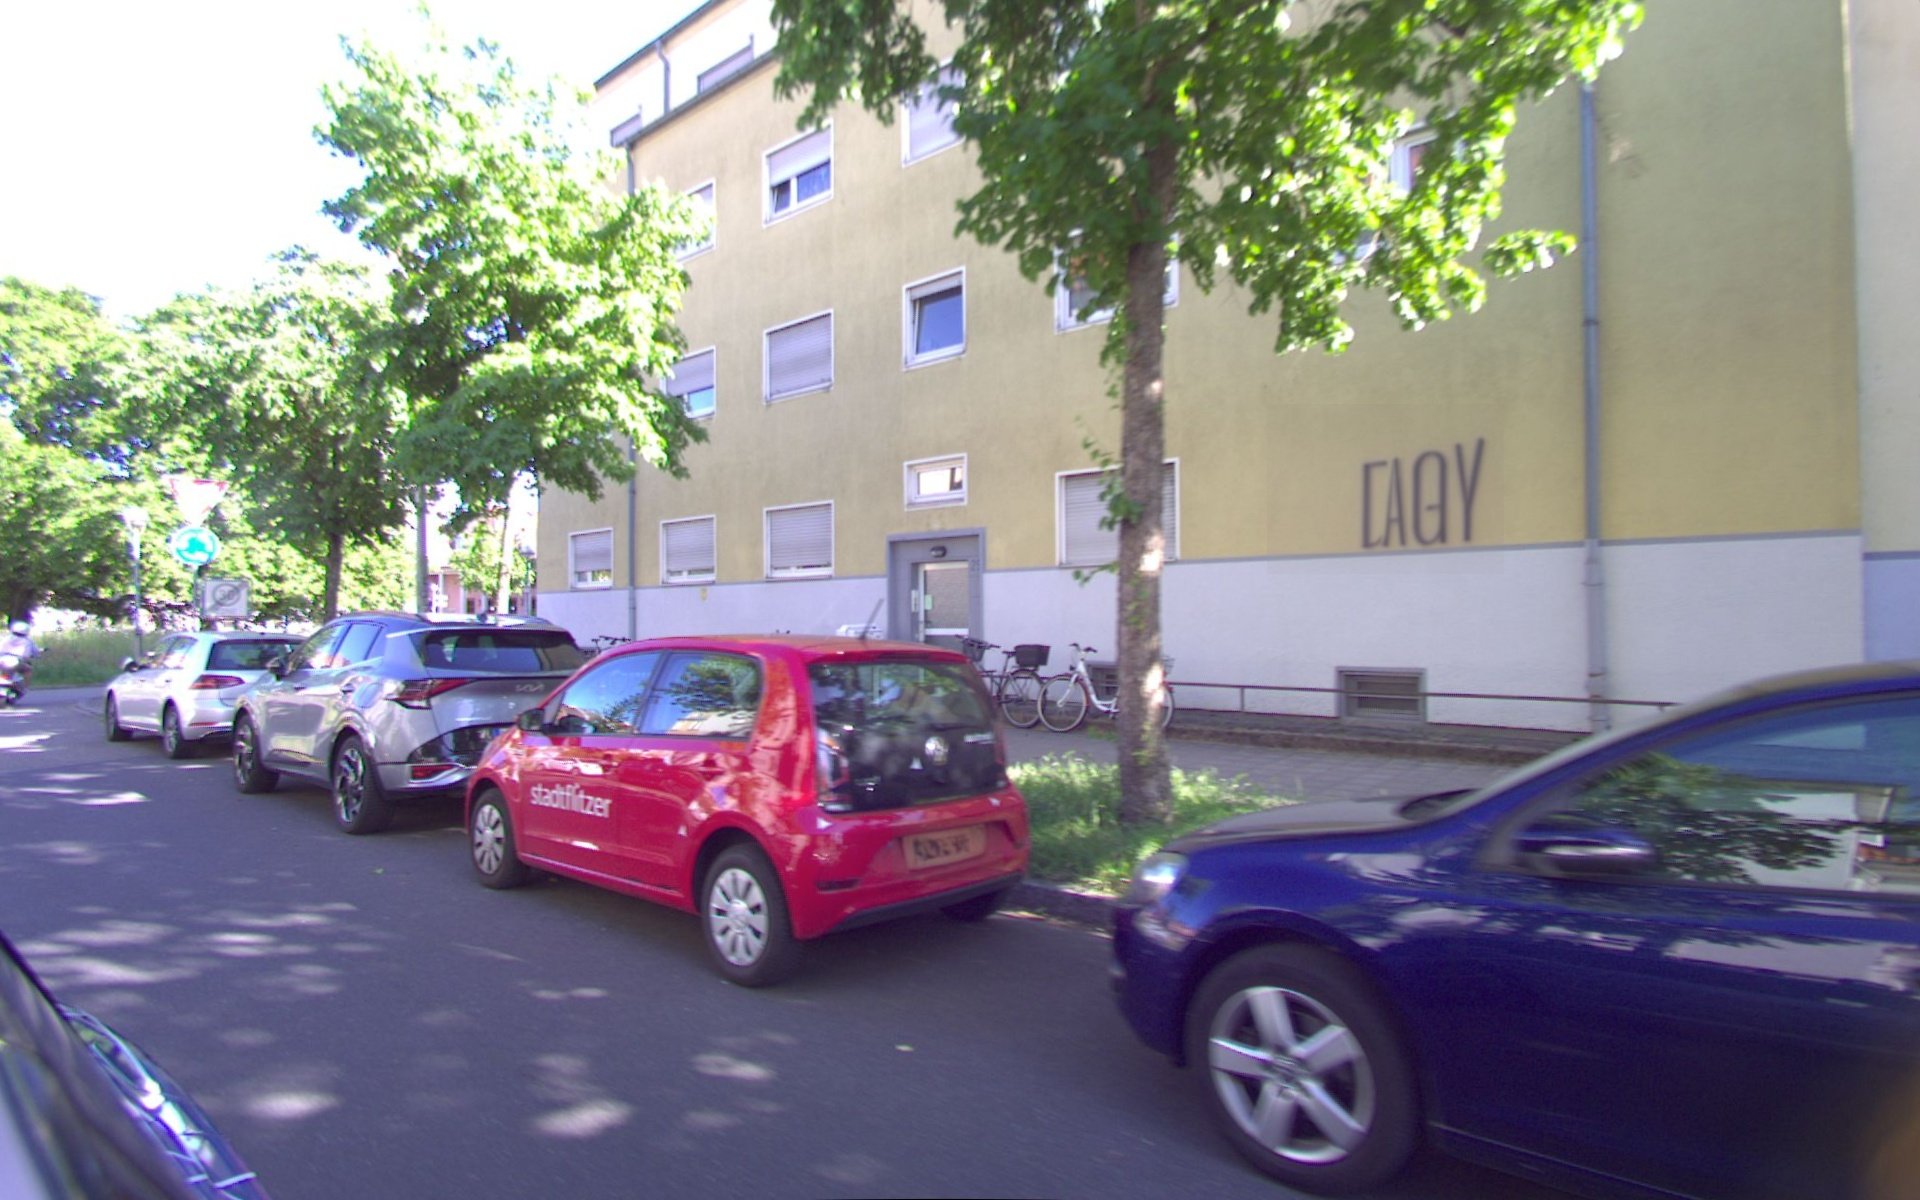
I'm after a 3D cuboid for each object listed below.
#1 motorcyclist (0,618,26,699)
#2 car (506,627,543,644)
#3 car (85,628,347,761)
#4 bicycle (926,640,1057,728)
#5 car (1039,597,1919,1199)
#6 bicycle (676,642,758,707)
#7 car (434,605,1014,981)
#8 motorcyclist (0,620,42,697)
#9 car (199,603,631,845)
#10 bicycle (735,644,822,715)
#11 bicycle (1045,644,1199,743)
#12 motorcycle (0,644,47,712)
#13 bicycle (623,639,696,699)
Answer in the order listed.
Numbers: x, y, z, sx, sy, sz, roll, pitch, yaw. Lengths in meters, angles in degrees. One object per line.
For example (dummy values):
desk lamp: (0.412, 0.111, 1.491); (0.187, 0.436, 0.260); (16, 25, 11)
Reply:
motorcyclist: (-17.345, 1.055, 18.328); (0.536, 1.437, 0.405); (0, -2, -26)
car: (-30.781, 2.493, 71.509); (1.739, 1.187, 4.010); (1, -2, -34)
car: (-9.680, 1.105, 13.076); (3.989, 1.453, 1.743); (-2, -2, 38)
bicycle: (0.376, 1.036, 12.875); (1.748, 1.034, 0.534); (-2, -2, 43)
car: (2.267, 0.743, 2.596); (3.931, 1.470, 1.647); (-2, -2, 42)
bicycle: (-3.980, 1.190, 16.514); (1.544, 1.008, 0.506); (-2, -2, 42)
car: (-1.475, 0.820, 5.755); (3.255, 1.497, 1.647); (-2, -2, 42)
motorcyclist: (-17.557, 1.075, 18.856); (0.545, 1.413, 0.521); (0, -2, -27)
car: (-4.910, 0.879, 8.787); (4.731, 1.577, 1.674); (-2, -2, 40)
bicycle: (-2.775, 1.178, 15.359); (1.545, 1.008, 0.509); (-2, -2, 45)
bicycle: (1.825, 1.029, 11.595); (1.748, 1.034, 0.530); (-2, -2, 43)
motorcycle: (-17.441, 1.410, 18.609); (0.545, 1.184, 1.638); (0, -1, -26)
bicycle: (-5.317, 1.198, 17.844); (1.681, 1.008, 0.430); (-2, -2, 42)
